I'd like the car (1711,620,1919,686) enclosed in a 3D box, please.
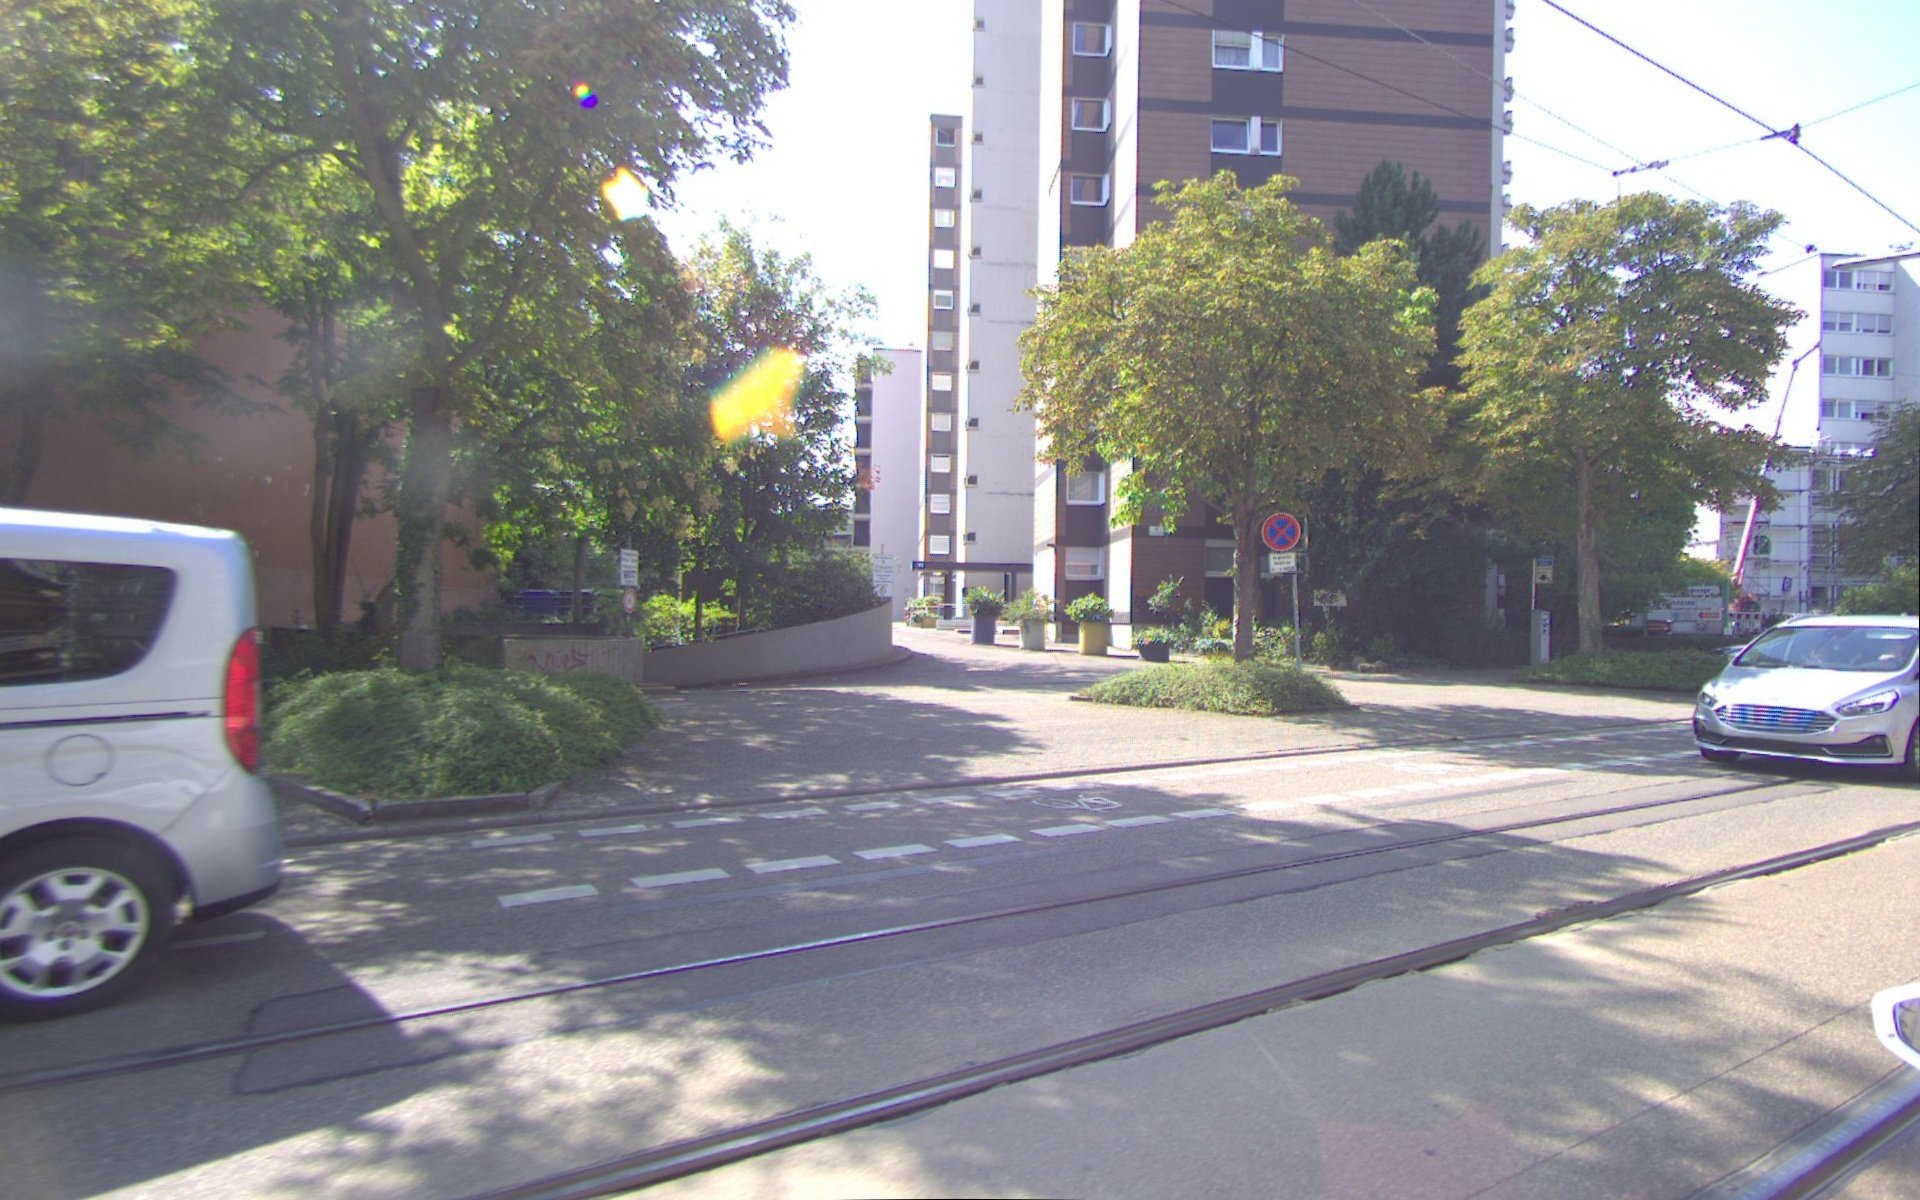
[{"bbox_3d":[23.238,1.378,27.264,4.509,1.573,1.993,1,0,36],"label":"car"}]

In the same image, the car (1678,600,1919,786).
[{"bbox_3d":[9.986,0.899,11.153,4.299,1.706,1.770,1,0,-32],"label":"car"}]

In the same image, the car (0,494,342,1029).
[{"bbox_3d":[-4.557,0.522,3.368,3.972,1.820,1.730,1,0,-43],"label":"car"}]
